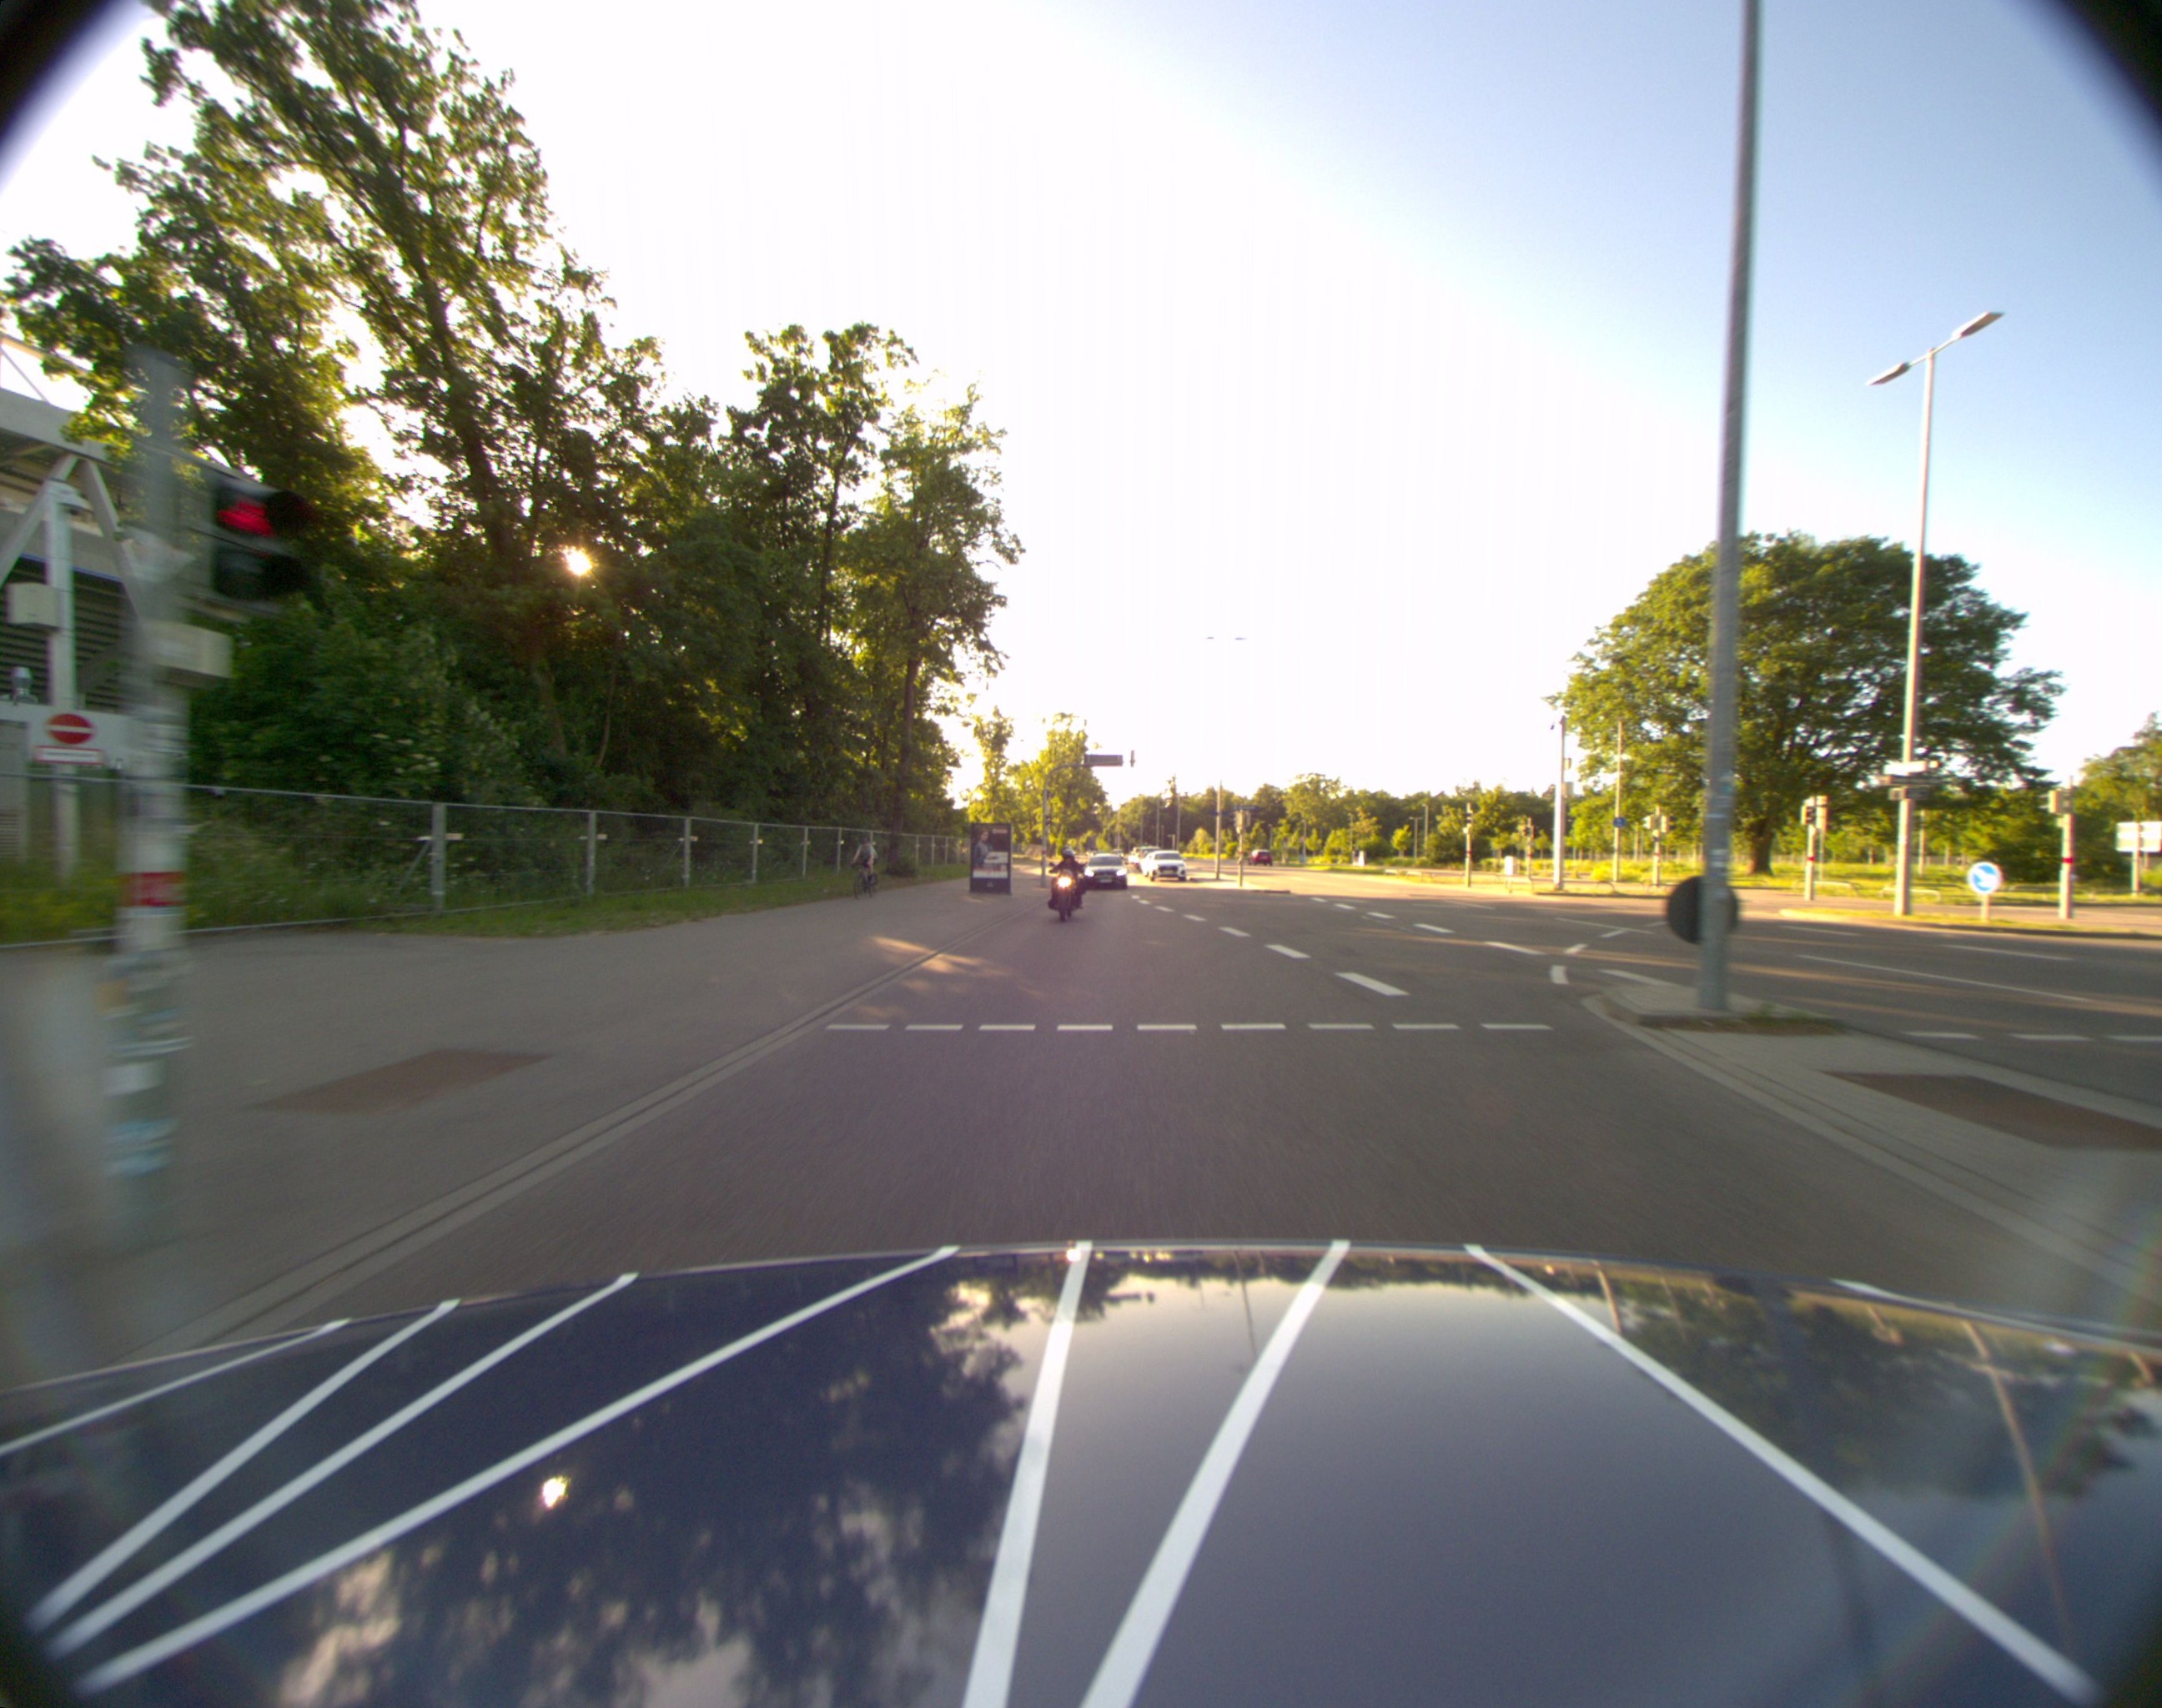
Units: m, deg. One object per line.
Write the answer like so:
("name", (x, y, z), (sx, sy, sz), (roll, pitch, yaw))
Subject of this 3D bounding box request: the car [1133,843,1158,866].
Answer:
("car", (5.392, 0.019, 64.384), (1.884, 1.862, 5.235), (0, 0, 2))

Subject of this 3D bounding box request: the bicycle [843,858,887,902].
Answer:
("bicycle", (-5.980, 0.696, 21.113), (0.555, 1.131, 1.864), (3, 1, 3))

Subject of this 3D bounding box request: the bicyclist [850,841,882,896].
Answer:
("bicyclist", (-5.961, 0.392, 21.092), (0.521, 1.461, 0.861), (3, 1, 3))

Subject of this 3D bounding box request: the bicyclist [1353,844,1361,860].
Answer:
("bicyclist", (27.943, -0.222, 76.925), (0.681, 1.602, 0.801), (-1, 1, 11))

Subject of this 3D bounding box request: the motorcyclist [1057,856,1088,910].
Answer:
("motorcyclist", (-0.202, 0.679, 18.382), (0.671, 1.257, 0.826), (-1, 1, 3))

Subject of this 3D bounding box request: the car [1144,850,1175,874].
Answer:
("car", (4.789, 0.459, 46.789), (1.661, 1.418, 4.319), (0, 0, 3))

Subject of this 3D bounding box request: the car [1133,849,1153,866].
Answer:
("car", (5.641, 0.284, 69.444), (1.736, 1.560, 4.103), (0, 1, 2))

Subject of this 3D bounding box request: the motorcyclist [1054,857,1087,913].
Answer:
("motorcyclist", (-0.235, 0.703, 17.559), (0.671, 1.257, 0.826), (-1, 1, 3))

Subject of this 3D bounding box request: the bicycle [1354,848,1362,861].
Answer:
("bicycle", (28.032, 0.041, 76.951), (0.494, 1.230, 1.796), (-1, 1, 10))

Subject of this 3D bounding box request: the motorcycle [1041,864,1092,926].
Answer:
("motorcycle", (-0.282, 0.882, 17.506), (0.915, 1.243, 2.963), (-1, 1, 3))

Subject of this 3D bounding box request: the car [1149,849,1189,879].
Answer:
("car", (4.576, 0.478, 39.903), (1.838, 1.504, 4.301), (0, 0, 3))

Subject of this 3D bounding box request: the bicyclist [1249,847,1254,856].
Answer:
("bicyclist", (26.119, -0.394, 116.628), (0.593, 1.405, 0.800), (-1, 1, 5))

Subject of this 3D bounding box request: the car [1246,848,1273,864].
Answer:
("car", (18.476, 0.148, 78.855), (1.890, 1.544, 4.572), (-1, 1, 1))

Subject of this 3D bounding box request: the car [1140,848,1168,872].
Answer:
("car", (5.145, 0.390, 54.073), (1.797, 1.574, 4.321), (0, 0, 2))

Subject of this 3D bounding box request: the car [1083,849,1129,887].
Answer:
("car", (1.136, 0.571, 33.604), (1.867, 1.538, 4.796), (0, 0, 2))
